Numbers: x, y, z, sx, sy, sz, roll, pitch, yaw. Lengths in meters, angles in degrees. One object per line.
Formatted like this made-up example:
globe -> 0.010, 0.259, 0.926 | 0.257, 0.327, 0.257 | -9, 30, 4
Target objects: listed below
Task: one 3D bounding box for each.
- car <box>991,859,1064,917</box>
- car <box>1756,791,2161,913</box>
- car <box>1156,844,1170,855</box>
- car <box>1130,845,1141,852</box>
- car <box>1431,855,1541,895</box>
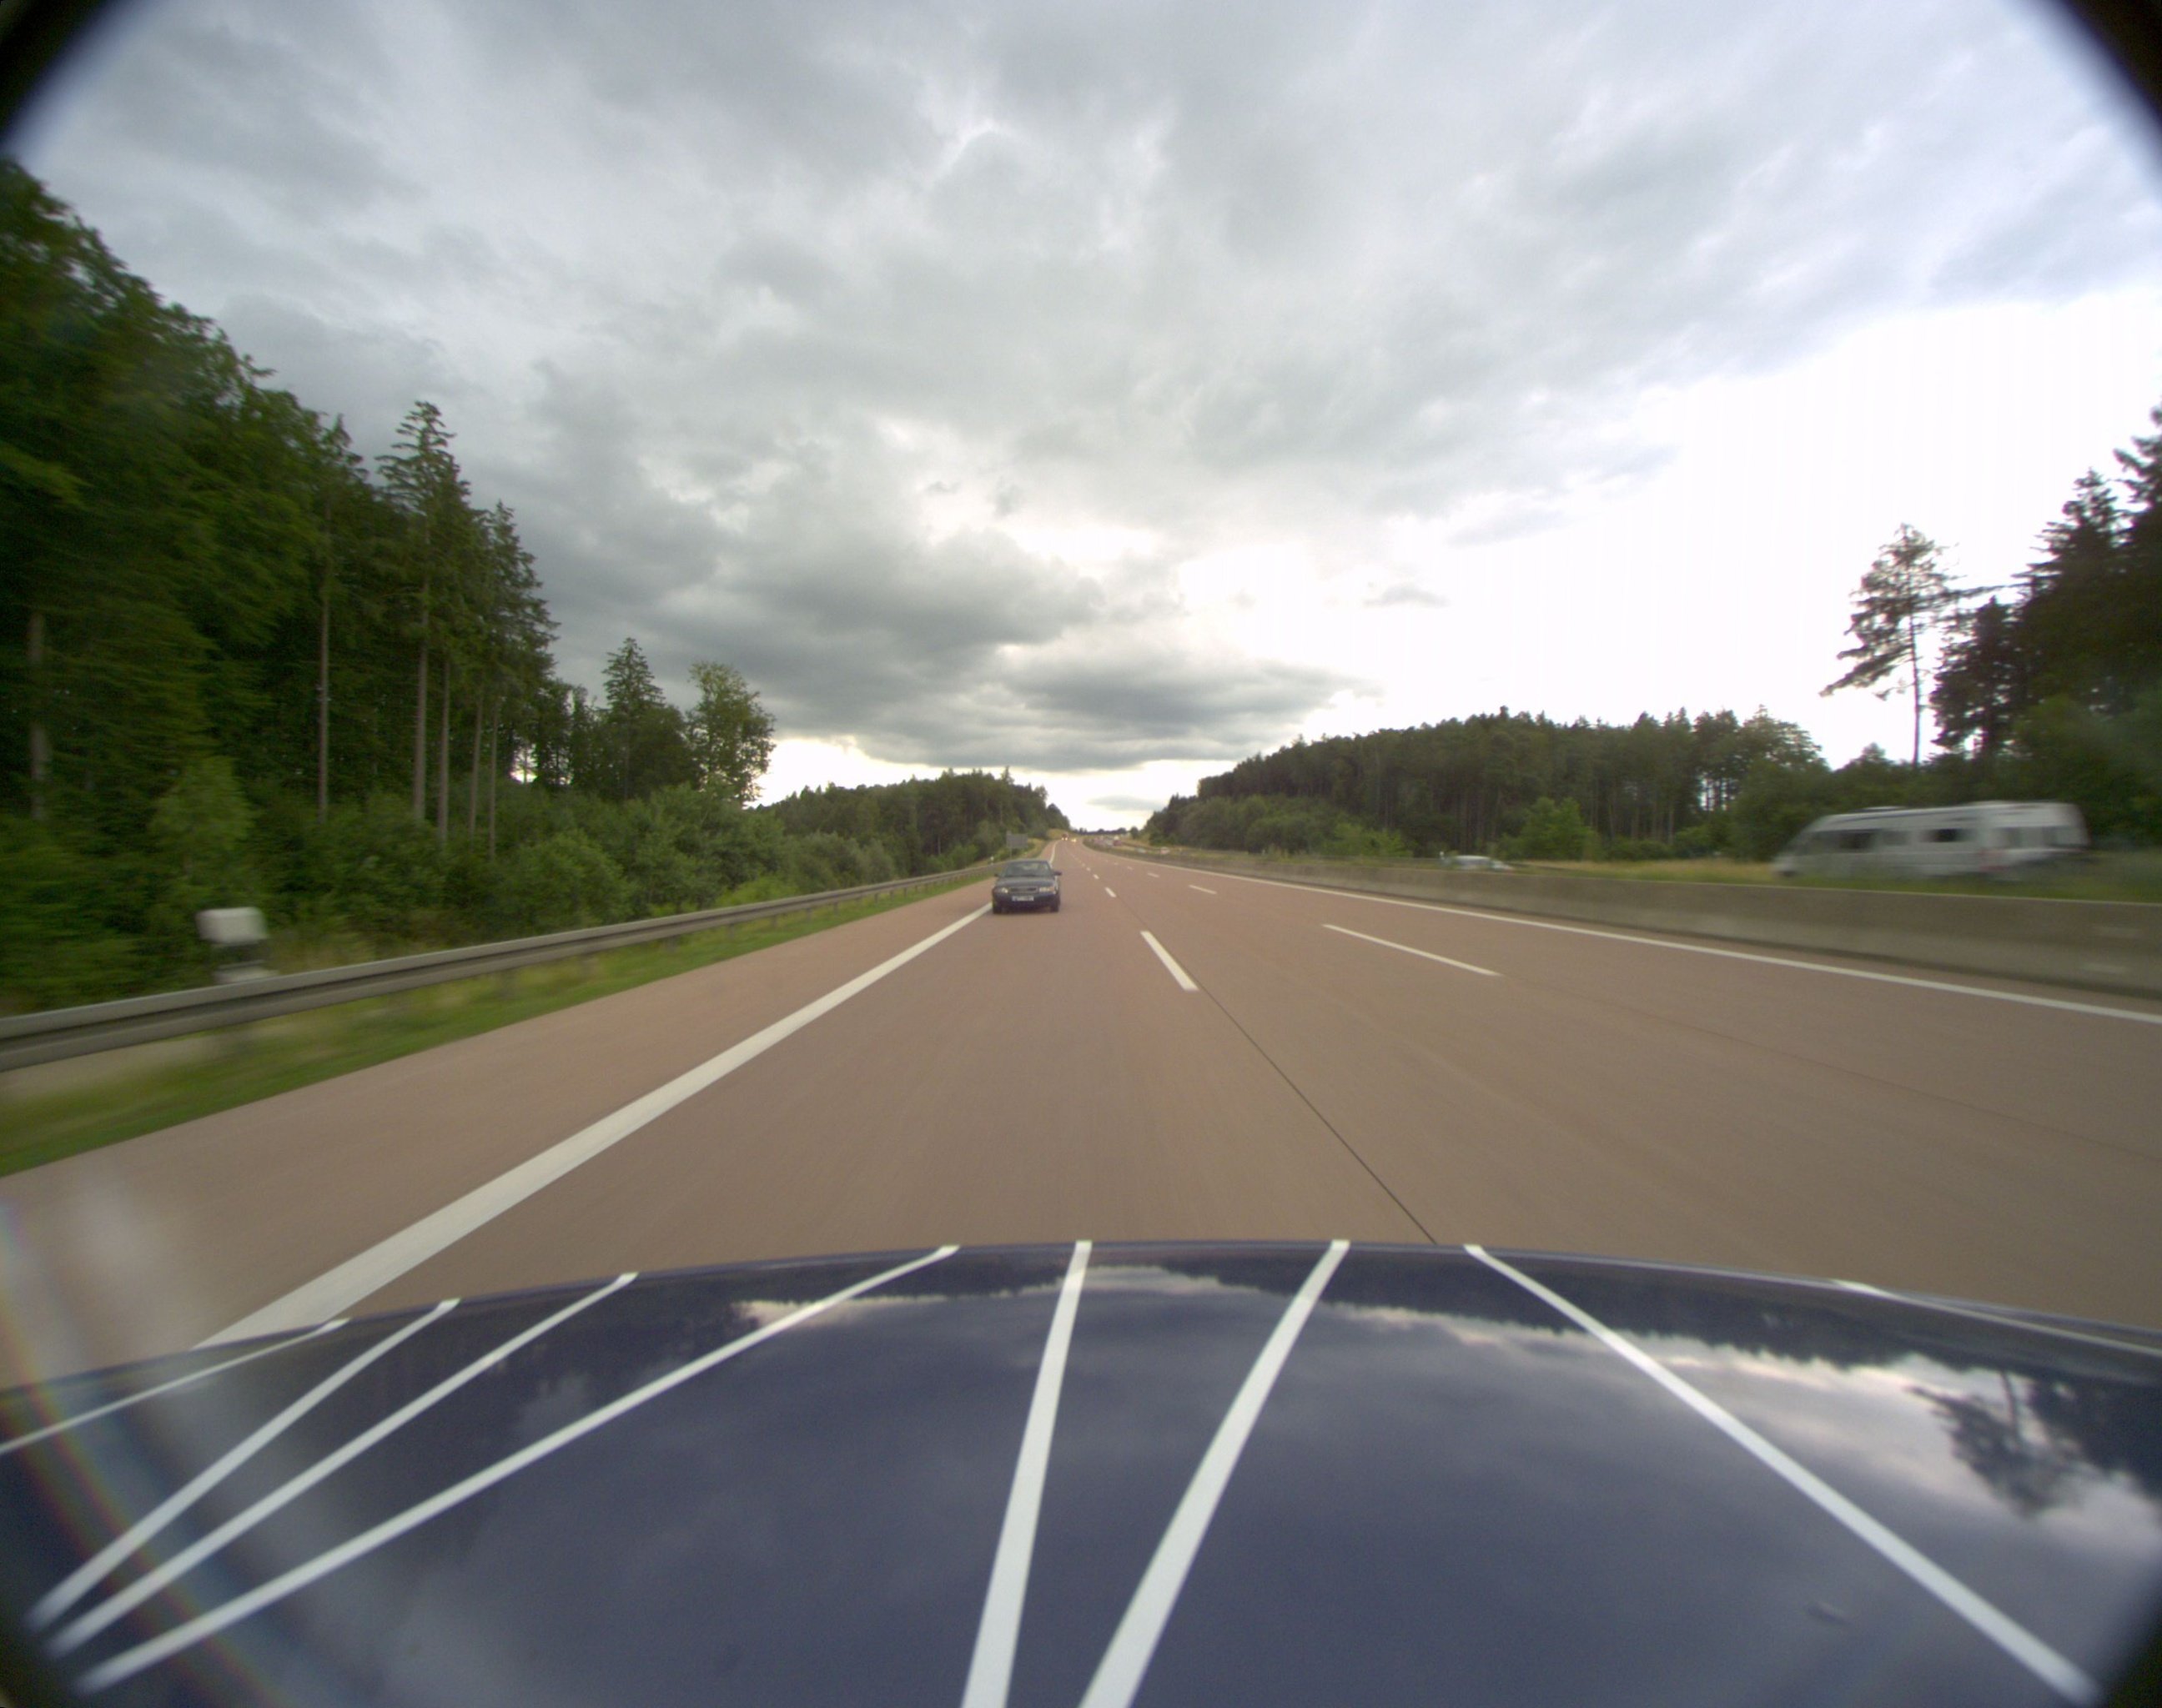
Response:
car -> -1.401, 0.875, 21.330 | 1.676, 1.395, 4.233 | -1, 1, 0
car -> 22.695, -0.096, 20.463 | 2.466, 2.595, 7.328 | -2, 1, 0
car -> 15.824, -0.856, 146.293 | 2.039, 1.872, 4.723 | -2, 1, -1
car -> 13.800, -1.396, 191.973 | 2.039, 1.872, 4.722 | -2, 1, -2
car -> 15.032, 0.732, 28.488 | 1.901, 1.273, 4.159 | -2, 1, 0
